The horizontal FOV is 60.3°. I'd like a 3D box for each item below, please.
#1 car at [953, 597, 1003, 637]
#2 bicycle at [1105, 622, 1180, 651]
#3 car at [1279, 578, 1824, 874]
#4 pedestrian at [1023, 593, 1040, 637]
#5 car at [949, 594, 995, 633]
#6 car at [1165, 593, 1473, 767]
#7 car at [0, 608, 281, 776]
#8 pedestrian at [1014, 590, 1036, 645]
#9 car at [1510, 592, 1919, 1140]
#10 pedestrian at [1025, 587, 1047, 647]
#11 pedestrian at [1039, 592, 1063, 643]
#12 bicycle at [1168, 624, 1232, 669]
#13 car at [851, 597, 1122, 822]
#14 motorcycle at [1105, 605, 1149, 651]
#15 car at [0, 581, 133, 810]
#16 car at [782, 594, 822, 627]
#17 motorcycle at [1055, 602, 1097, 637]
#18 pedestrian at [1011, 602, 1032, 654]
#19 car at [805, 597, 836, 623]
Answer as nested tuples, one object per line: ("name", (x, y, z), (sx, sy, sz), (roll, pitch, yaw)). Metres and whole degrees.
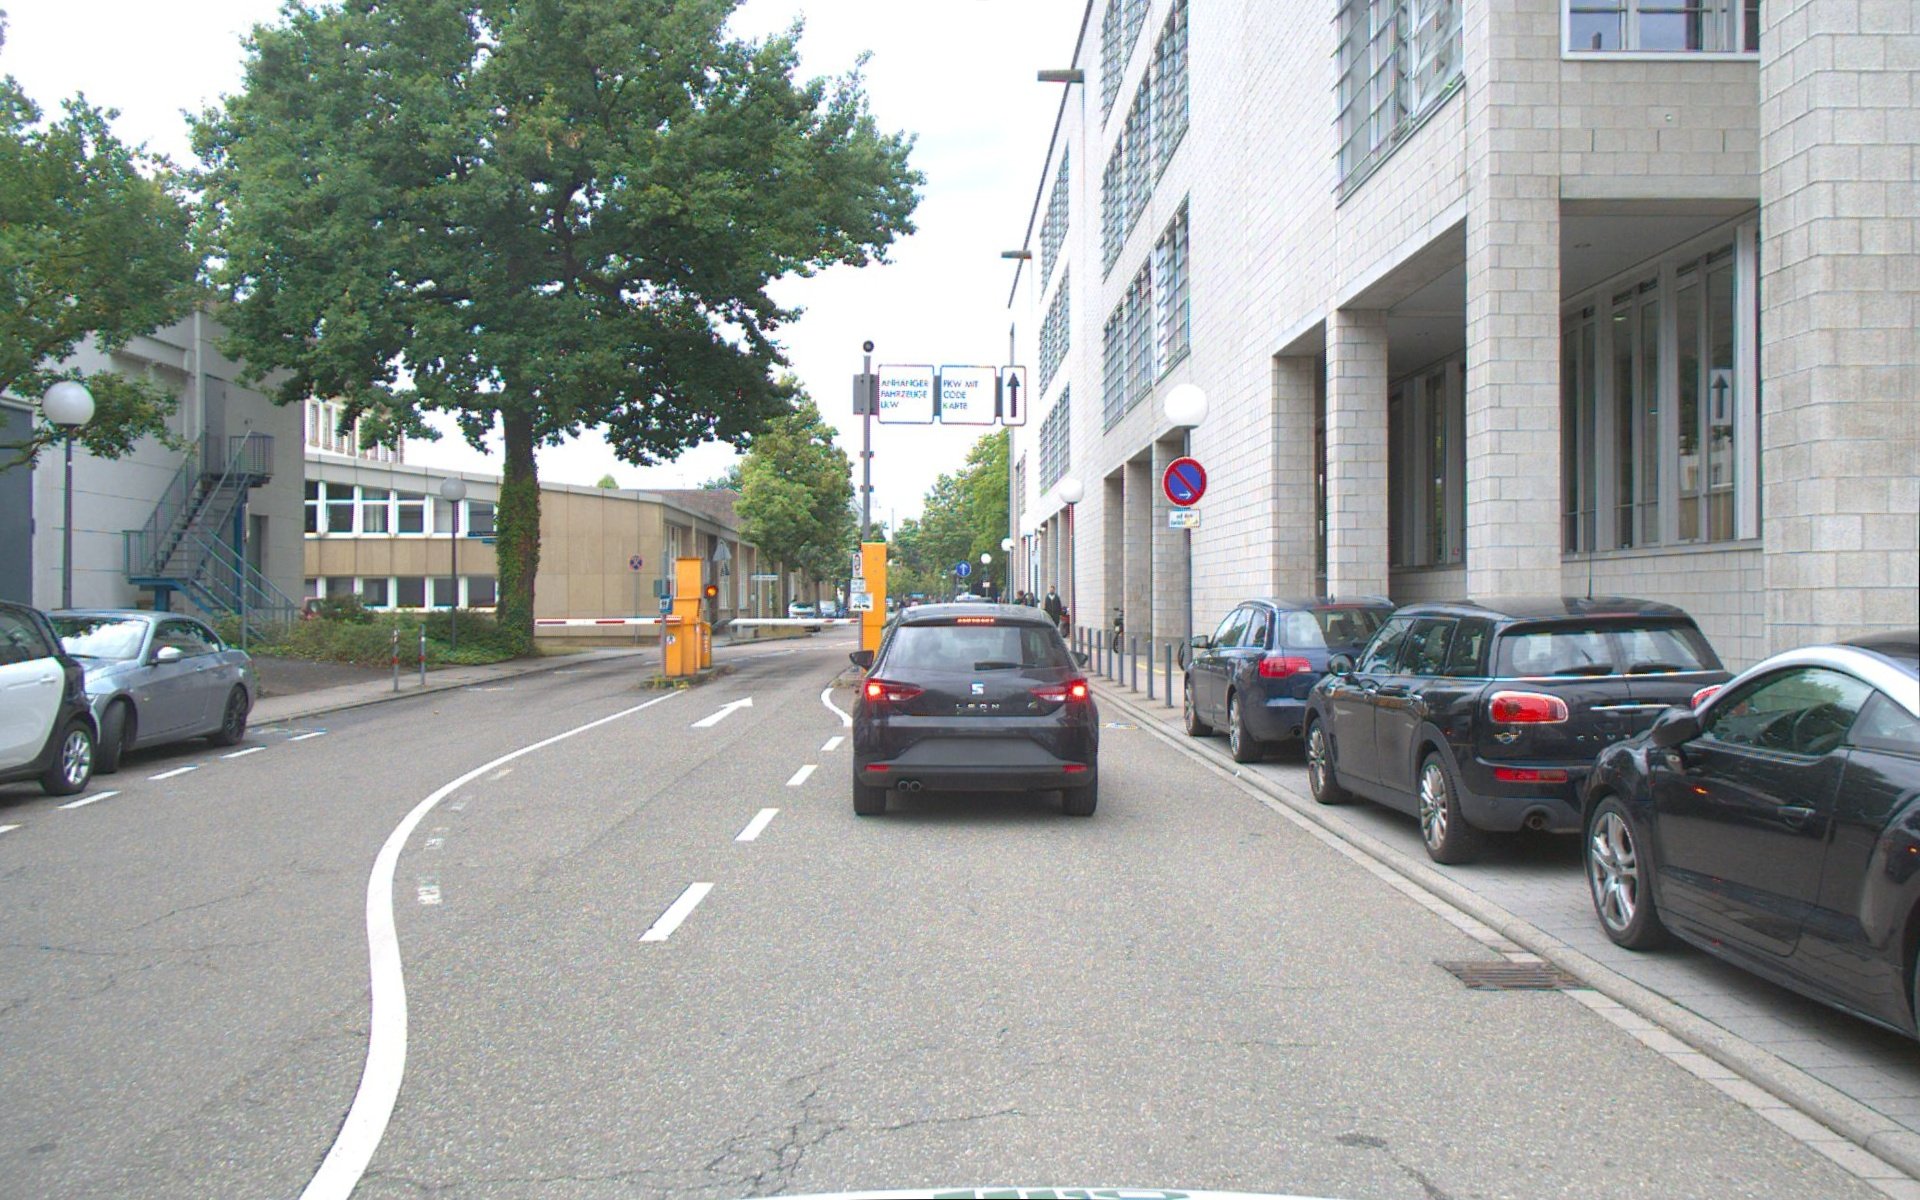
("car", (0.740, 0.733, 71.169), (1.953, 1.651, 4.426), (-1, -1, -2))
("bicycle", (4.704, 0.945, 42.621), (1.859, 0.711, 0.492), (1, 2, -5))
("car", (3.507, 0.645, 10.831), (1.781, 1.468, 4.518), (-2, 0, -2))
("pedestrian", (2.922, 0.609, 67.326), (0.682, 1.744, 0.489), (0, 0, 3))
("car", (0.520, 0.588, 75.694), (1.953, 1.651, 4.427), (-2, 0, -1))
("car", (3.386, 0.702, 16.665), (1.953, 1.477, 4.921), (0, 0, -1))
("car", (-8.375, 0.808, 16.370), (1.782, 1.413, 4.191), (0, 0, -4))
("pedestrian", (2.072, 0.549, 52.533), (0.682, 1.744, 0.489), (0, 0, 0))
("car", (3.614, 0.753, 5.943), (1.810, 1.467, 4.419), (0, 1, 0))
("pedestrian", (2.254, 0.505, 49.079), (0.598, 1.744, 0.575), (-1, 0, 2))
("pedestrian", (3.142, 0.613, 57.010), (0.714, 1.728, 0.587), (1, 2, -6))
("bicycle", (4.737, 0.908, 32.513), (0.453, 0.764, 2.292), (-5, -1, 28))
("car", (0.114, 0.704, 12.726), (1.746, 1.444, 4.128), (0, 0, -2))
("motorcycle", (4.639, 0.755, 45.813), (0.554, 1.168, 2.217), (2, 2, 23))
("car", (-7.623, 0.673, 11.709), (1.681, 1.613, 3.876), (0, 1, -2))
("car", (-7.916, 0.502, 82.977), (1.734, 1.629, 3.998), (0, 0, -2))
("motorcycle", (4.390, 0.721, 62.382), (0.744, 1.168, 2.662), (2, 2, 23))
("pedestrian", (2.059, 0.941, 55.701), (0.675, 1.728, 0.588), (1, 2, 2))
("car", (-8.894, 0.598, 105.746), (1.734, 1.629, 3.999), (0, 0, -2))
